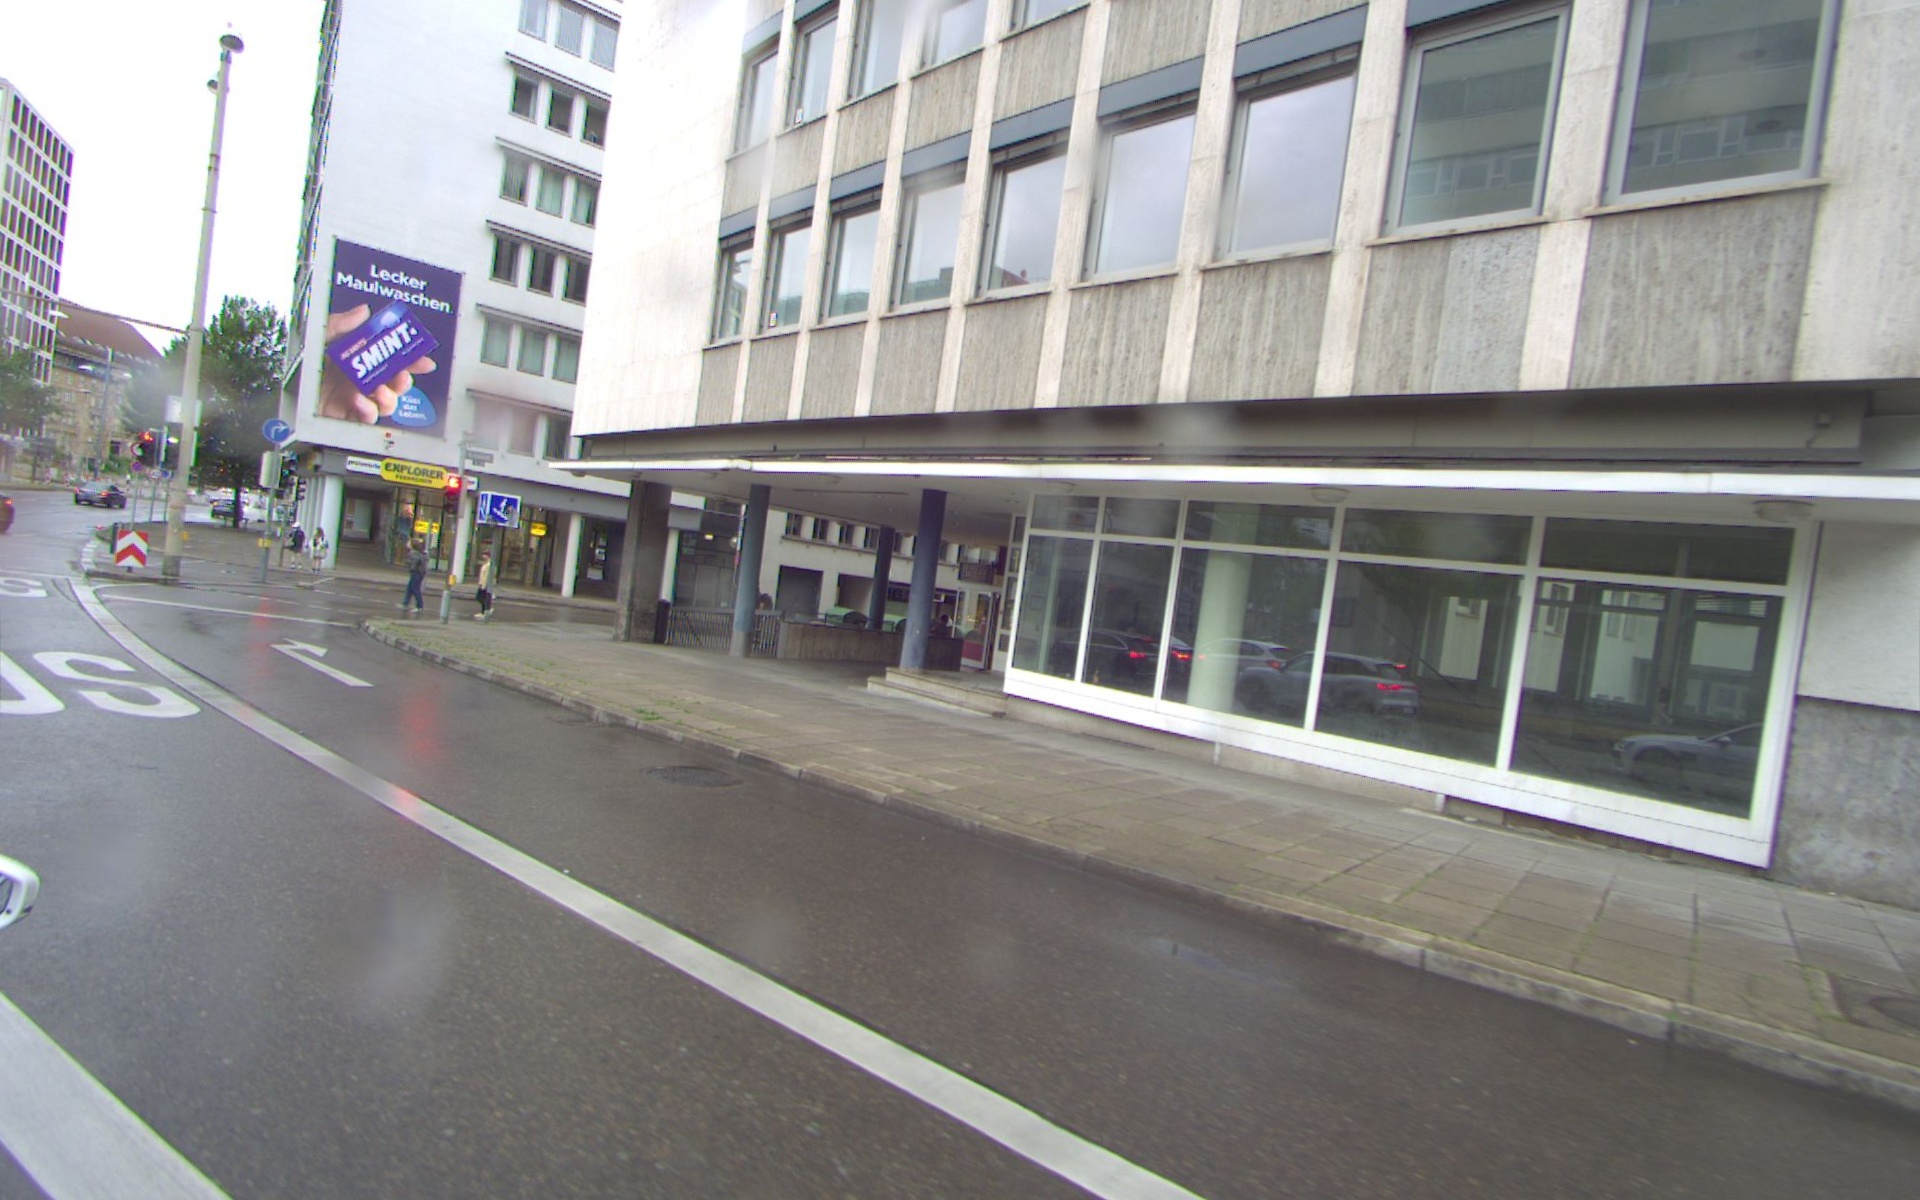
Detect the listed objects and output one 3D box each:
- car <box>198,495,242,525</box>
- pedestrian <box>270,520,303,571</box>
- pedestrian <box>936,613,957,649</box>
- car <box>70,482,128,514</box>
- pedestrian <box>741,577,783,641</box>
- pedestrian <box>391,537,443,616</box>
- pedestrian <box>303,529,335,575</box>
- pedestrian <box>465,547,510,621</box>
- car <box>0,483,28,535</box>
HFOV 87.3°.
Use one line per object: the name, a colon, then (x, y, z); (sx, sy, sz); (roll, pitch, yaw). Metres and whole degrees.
car: (-57.445, -6.948, 78.157); (2.032, 1.786, 4.323); (9, -1, -30)
pedestrian: (-23.867, -1.928, 35.639); (0.725, 1.689, 0.682); (7, 0, -42)
pedestrian: (-0.735, 1.672, 54.173); (0.677, 1.820, 0.722); (7, 0, -37)
car: (-53.718, -6.334, 62.840); (1.897, 1.527, 4.321); (9, -1, -31)
pedestrian: (-5.987, 0.273, 30.382); (1.002, 1.776, 0.793); (7, 0, -14)
pedestrian: (-13.391, -0.580, 24.803); (0.810, 1.820, 0.702); (7, 1, -42)
pedestrian: (-22.932, -1.726, 35.991); (0.725, 1.542, 0.751); (7, 0, -42)
pedestrian: (-12.405, -0.429, 26.412); (0.725, 1.820, 0.730); (7, 1, -42)
car: (-32.313, -3.210, 32.142); (3.925, 1.570, 2.002); (8, -1, 19)
